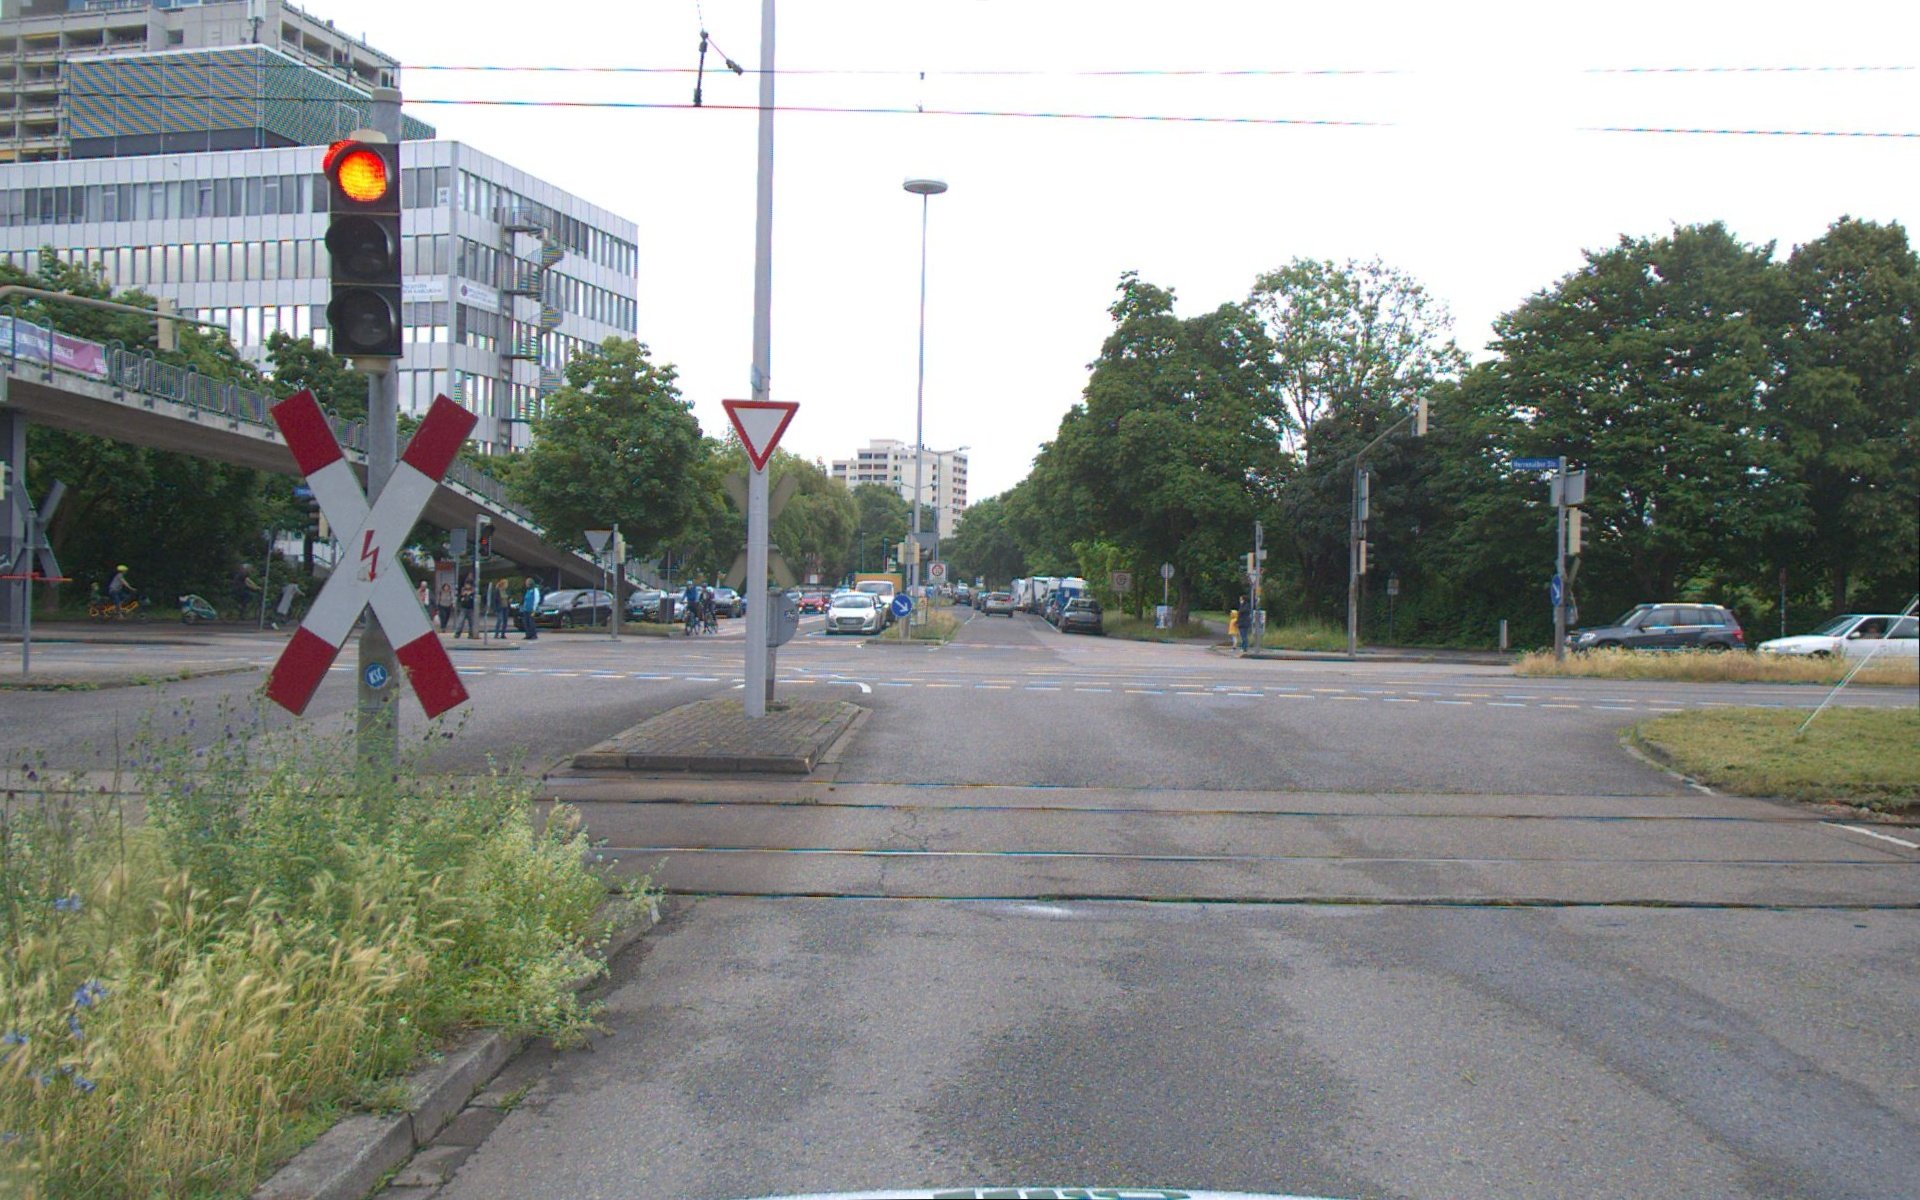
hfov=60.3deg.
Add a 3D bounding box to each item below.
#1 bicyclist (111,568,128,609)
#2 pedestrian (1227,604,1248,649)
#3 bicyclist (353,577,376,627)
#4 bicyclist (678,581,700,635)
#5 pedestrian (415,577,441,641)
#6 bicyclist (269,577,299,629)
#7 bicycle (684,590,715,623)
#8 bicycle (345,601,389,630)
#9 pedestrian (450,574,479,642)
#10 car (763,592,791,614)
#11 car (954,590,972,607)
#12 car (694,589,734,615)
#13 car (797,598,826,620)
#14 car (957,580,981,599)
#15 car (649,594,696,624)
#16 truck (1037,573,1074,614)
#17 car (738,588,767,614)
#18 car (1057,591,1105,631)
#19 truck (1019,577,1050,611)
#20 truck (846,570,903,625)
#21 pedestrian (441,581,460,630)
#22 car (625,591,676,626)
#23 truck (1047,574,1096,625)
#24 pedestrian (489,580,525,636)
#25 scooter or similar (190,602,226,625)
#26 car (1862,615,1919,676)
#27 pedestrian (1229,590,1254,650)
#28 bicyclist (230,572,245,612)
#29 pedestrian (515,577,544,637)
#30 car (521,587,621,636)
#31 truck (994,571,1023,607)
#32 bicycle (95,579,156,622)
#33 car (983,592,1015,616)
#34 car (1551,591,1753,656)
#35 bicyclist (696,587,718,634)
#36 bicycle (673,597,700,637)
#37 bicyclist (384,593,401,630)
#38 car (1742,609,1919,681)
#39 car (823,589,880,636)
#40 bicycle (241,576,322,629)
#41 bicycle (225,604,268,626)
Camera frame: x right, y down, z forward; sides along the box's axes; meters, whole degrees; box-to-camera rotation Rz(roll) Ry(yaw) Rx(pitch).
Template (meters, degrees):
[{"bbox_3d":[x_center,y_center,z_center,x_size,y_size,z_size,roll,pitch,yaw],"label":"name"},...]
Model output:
[{"bbox_3d":[-26.649,-0.357,52.436,0.399,1.275,0.276,1,0,-16],"label":"bicyclist"},{"bbox_3d":[8.383,0.798,50.021,0.516,1.365,0.525,1,0,-1],"label":"pedestrian"},{"bbox_3d":[-20.062,0.055,55.716,0.553,1.673,0.531,1,-1,0],"label":"bicyclist"},{"bbox_3d":[-9.089,0.258,55.476,0.631,1.799,0.646,1,0,-1],"label":"bicyclist"},{"bbox_3d":[-14.440,0.250,44.909,0.608,1.721,0.404,1,0,-15],"label":"pedestrian"},{"bbox_3d":[-21.749,0.097,53.210,0.742,1.653,0.521,1,0,-38],"label":"bicyclist"},{"bbox_3d":[-9.047,0.207,57.514,0.712,1.120,2.264,1,0,-1],"label":"bicycle"},{"bbox_3d":[-19.956,0.510,55.704,0.618,0.941,2.523,1,1,-1],"label":"bicycle"},{"bbox_3d":[-13.634,0.212,45.543,0.625,1.835,0.800,1,0,-10],"label":"pedestrian"},{"bbox_3d":[-13.877,0.229,125.571,1.637,1.579,4.000,1,0,0],"label":"car"},{"bbox_3d":[0.293,-0.177,158.789,1.523,1.531,3.998,1,0,-3],"label":"car"},{"bbox_3d":[-14.181,0.097,95.538,1.727,1.419,3.999,1,0,-1],"label":"car"},{"bbox_3d":[-9.952,0.581,111.125,1.481,1.414,3.533,1,0,2],"label":"car"},{"bbox_3d":[0.750,-0.891,142.208,1.979,1.531,3.999,1,0,-1],"label":"car"},{"bbox_3d":[-14.379,0.425,82.912,1.637,1.411,3.895,1,0,0],"label":"car"},{"bbox_3d":[6.905,-0.478,120.172,1.954,2.888,5.726,1,0,-4],"label":"truck"},{"bbox_3d":[-13.385,0.043,106.853,1.415,1.579,3.663,1,0,-1],"label":"car"},{"bbox_3d":[5.387,0.464,74.001,1.747,1.691,3.999,1,0,-1],"label":"car"},{"bbox_3d":[5.946,-0.436,132.230,1.954,2.618,5.375,1,0,-3],"label":"truck"},{"bbox_3d":[-3.648,-0.135,71.838,2.111,2.237,5.840,1,0,0],"label":"truck"},{"bbox_3d":[-16.984,0.191,55.121,0.570,1.607,0.777,1,0,-19],"label":"pedestrian"},{"bbox_3d":[-14.462,0.382,77.415,1.637,1.579,3.892,1,0,0],"label":"car"},{"bbox_3d":[6.072,-0.002,90.810,2.130,2.703,6.245,0,0,-1],"label":"truck"},{"bbox_3d":[-12.479,0.215,45.589,0.901,1.537,0.403,1,0,-12],"label":"pedestrian"},{"bbox_3d":[-24.434,0.450,53.743,0.986,0.727,0.401,1,0,-36],"label":"scooter or similar"},{"bbox_3d":[25.505,1.175,41.844,4.373,1.465,1.846,1,0,0],"label":"car"},{"bbox_3d":[8.394,0.585,49.348,0.643,1.780,0.459,1,0,-1],"label":"pedestrian"},{"bbox_3d":[-23.769,-0.263,54.397,0.380,1.326,0.275,1,0,-38],"label":"bicyclist"},{"bbox_3d":[-11.867,0.189,45.632,0.673,1.633,0.487,1,0,-5],"label":"pedestrian"},{"bbox_3d":[-13.378,0.379,57.119,1.636,1.579,4.003,1,0,15],"label":"car"},{"bbox_3d":[4.170,-0.906,142.998,1.954,3.061,5.767,1,0,-4],"label":"truck"},{"bbox_3d":[-26.478,0.027,52.484,1.678,1.327,0.387,1,0,-19],"label":"bicycle"},{"bbox_3d":[2.620,0.273,111.819,1.979,1.531,3.999,1,0,-1],"label":"car"},{"bbox_3d":[17.556,0.589,42.087,4.373,1.530,1.846,1,0,0],"label":"car"},{"bbox_3d":[-8.912,0.376,58.285,0.665,1.622,0.695,1,-1,-1],"label":"bicyclist"},{"bbox_3d":[-9.055,0.557,54.795,0.532,1.289,2.110,1,0,-1],"label":"bicycle"},{"bbox_3d":[-18.763,0.375,54.699,0.396,1.202,0.377,1,1,1],"label":"bicyclist"},{"bbox_3d":[18.755,0.941,34.569,4.052,1.381,1.647,1,0,0],"label":"car"},{"bbox_3d":[-3.754,0.392,57.801,1.753,1.545,4.325,1,0,-1],"label":"car"},{"bbox_3d":[-21.805,0.095,53.207,2.341,1.653,0.521,1,0,-38],"label":"bicycle"},{"bbox_3d":[-23.489,0.489,54.466,1.283,0.704,0.286,1,0,-37],"label":"bicycle"}]
